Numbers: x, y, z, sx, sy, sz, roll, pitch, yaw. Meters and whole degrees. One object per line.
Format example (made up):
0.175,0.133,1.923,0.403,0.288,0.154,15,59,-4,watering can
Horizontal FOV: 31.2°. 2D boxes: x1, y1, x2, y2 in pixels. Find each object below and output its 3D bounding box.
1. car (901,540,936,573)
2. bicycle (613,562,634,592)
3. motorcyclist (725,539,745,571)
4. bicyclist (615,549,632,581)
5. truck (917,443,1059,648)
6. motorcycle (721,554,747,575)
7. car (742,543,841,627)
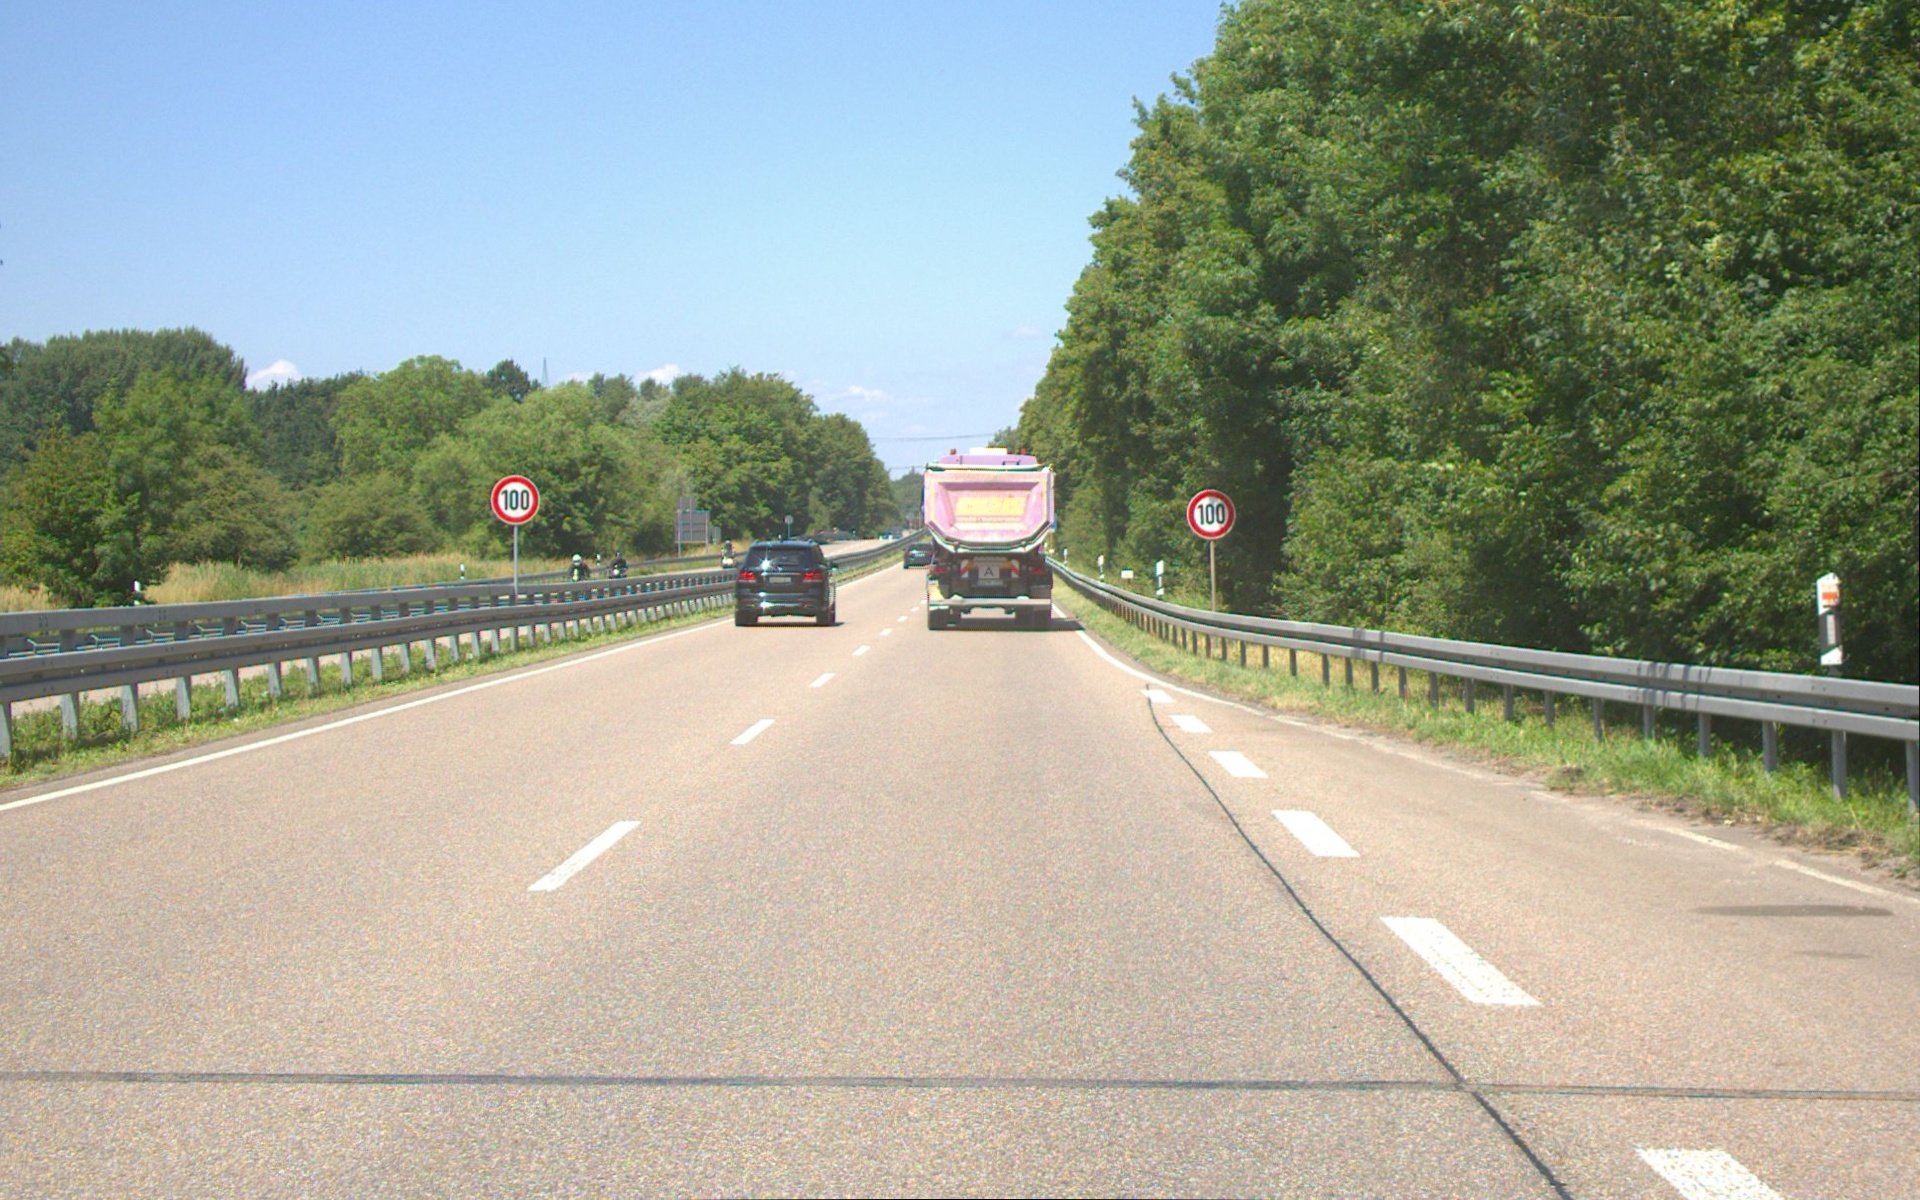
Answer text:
-2.252,-2.357,186.206,1.857,1.712,4.000,0,0,0,car
-13.236,-0.922,135.314,0.613,1.153,2.280,0,1,0,bicycle
-11.694,-2.346,178.336,0.945,1.611,0.809,-1,1,0,motorcyclist
-13.236,-1.385,135.318,0.613,1.273,0.608,0,1,0,bicyclist
0.512,-1.192,72.248,2.720,3.916,12.371,0,1,0,truck
-11.714,-1.866,178.361,1.063,1.061,3.818,-1,1,1,motorcycle
-3.441,-0.289,70.939,1.857,1.665,4.000,0,0,0,car
